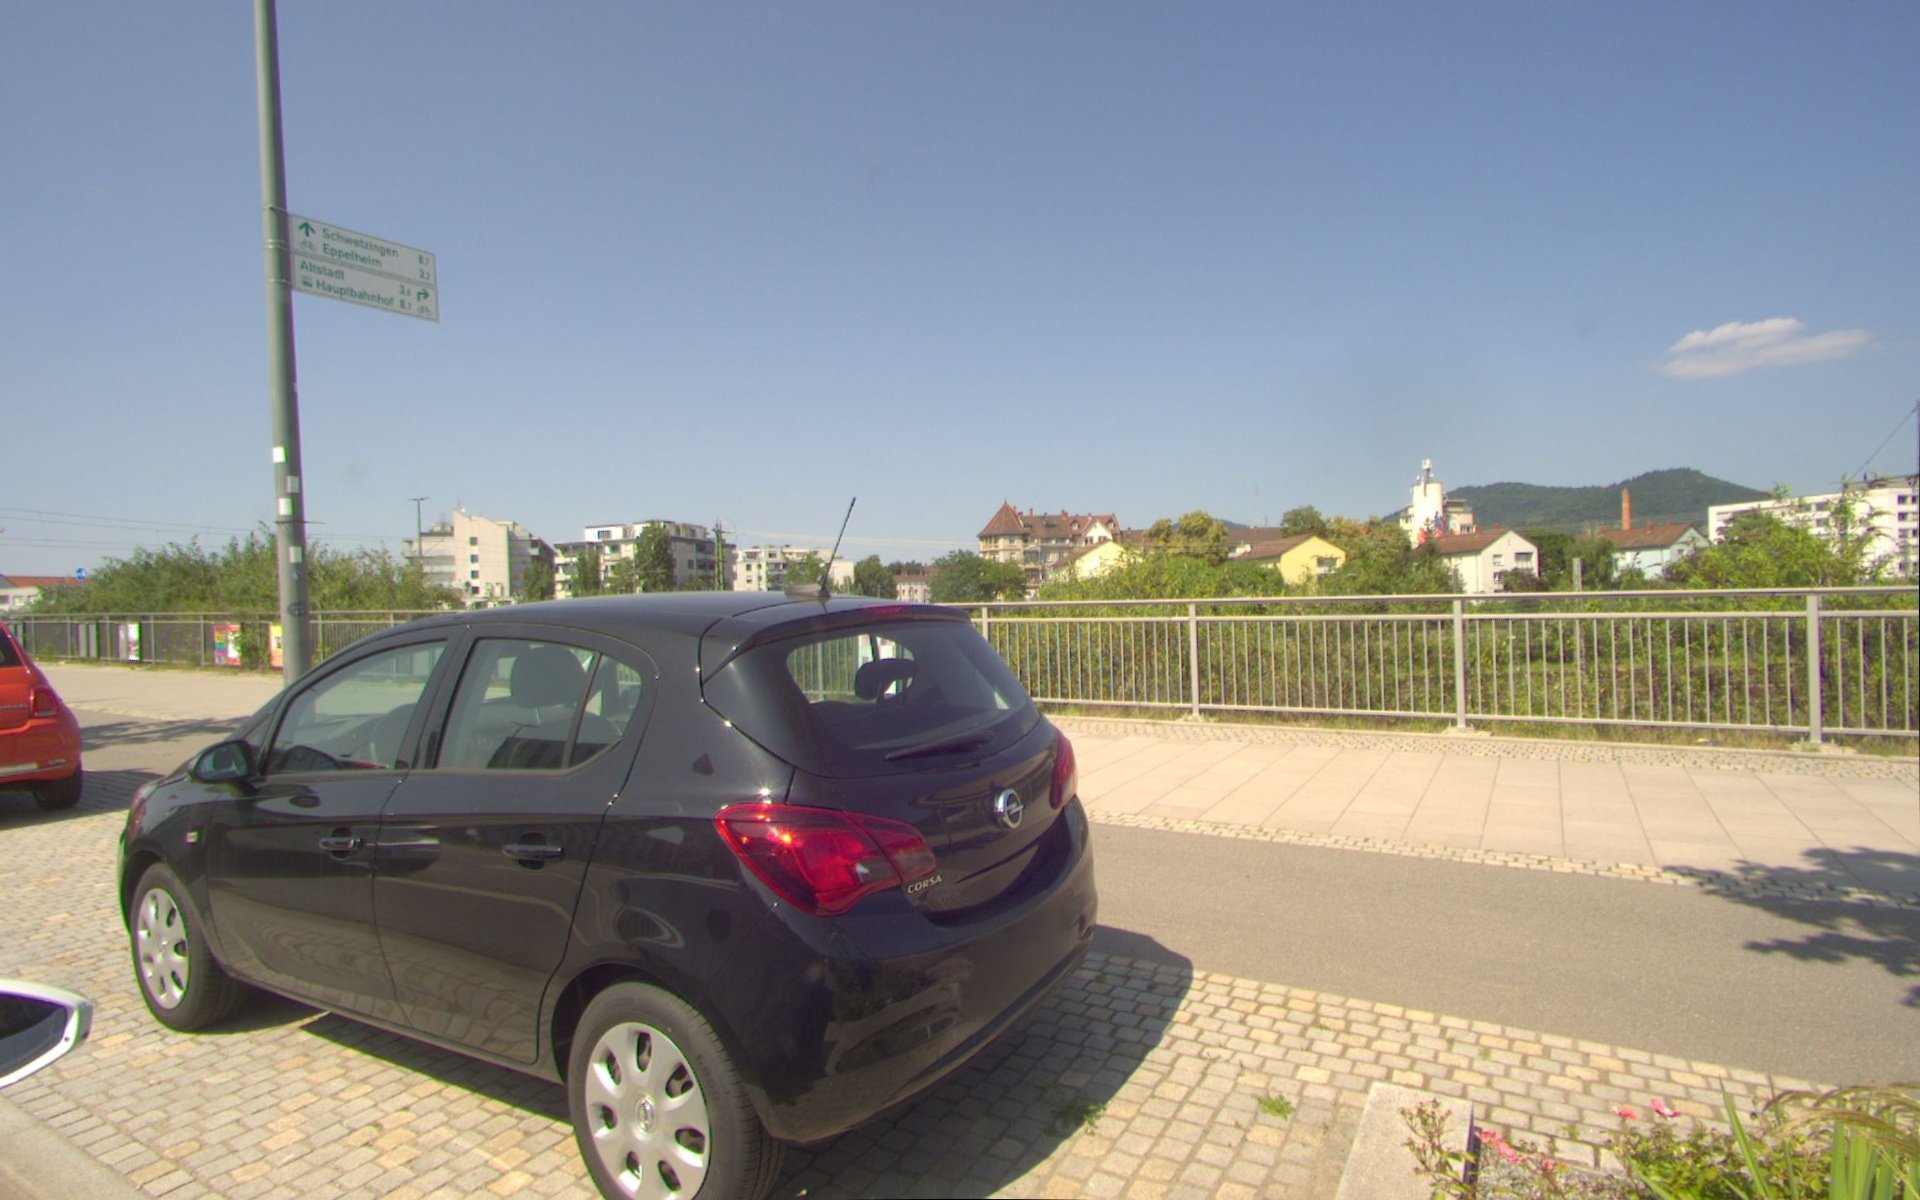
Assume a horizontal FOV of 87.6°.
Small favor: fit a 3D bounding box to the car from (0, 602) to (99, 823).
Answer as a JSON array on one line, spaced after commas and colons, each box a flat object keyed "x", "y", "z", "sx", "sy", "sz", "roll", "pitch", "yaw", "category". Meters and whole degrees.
[{"x": -8.160, "y": 0.808, "z": 7.586, "sx": 3.306, "sy": 1.517, "sz": 1.605, "roll": -1, "pitch": 2, "yaw": 34, "category": "car"}]

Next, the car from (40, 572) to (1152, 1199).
[{"x": -1.490, "y": 0.699, "z": 3.596, "sx": 3.943, "sy": 1.446, "sz": 1.656, "roll": -1, "pitch": 1, "yaw": 32, "category": "car"}]
